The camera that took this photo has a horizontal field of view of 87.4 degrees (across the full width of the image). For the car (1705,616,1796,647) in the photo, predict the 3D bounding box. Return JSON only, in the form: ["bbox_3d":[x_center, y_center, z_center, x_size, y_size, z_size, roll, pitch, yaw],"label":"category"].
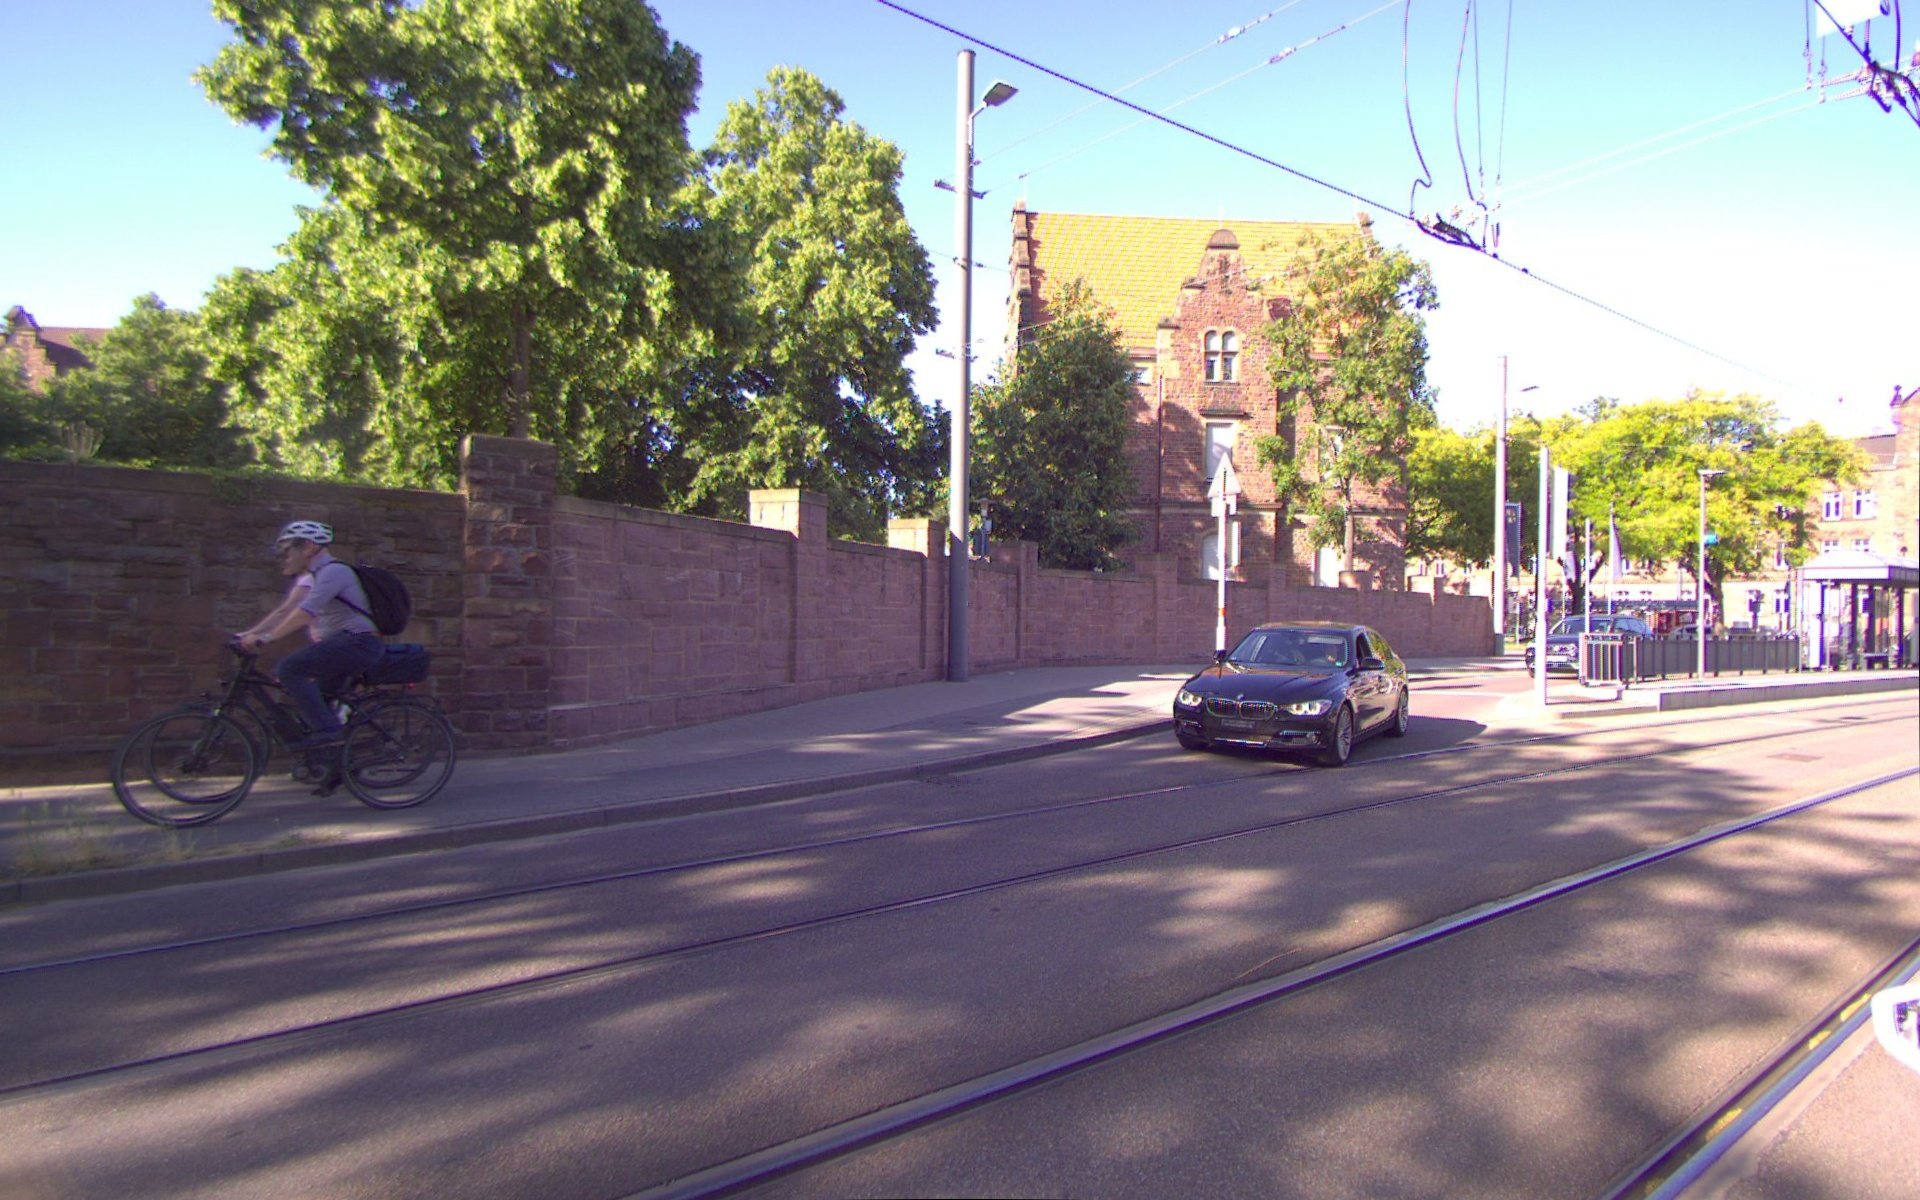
[{"bbox_3d":[46.445,1.833,59.112,1.730,1.682,3.840,2,0,-30],"label":"car"}]

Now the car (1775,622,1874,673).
[{"bbox_3d":[29.929,1.593,34.744,4.080,1.659,1.783,1,-1,-37],"label":"car"}]

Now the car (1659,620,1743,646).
[{"bbox_3d":[48.461,2.136,65.753,1.855,1.542,4.045,2,0,-30],"label":"car"}]

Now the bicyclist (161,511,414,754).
[{"bbox_3d":[-4.258,0.203,6.472,1.257,1.409,0.762,2,0,-30],"label":"bicyclist"}]

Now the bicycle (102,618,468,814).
[{"bbox_3d":[-4.747,0.763,7.214,2.068,1.207,0.726,2,0,-36],"label":"bicycle"}]

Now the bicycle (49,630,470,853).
[{"bbox_3d":[-4.333,0.825,6.434,2.078,1.207,0.768,2,0,-30],"label":"bicycle"}]

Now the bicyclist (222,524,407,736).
[{"bbox_3d":[-4.662,0.207,7.267,1.051,1.409,0.727,2,0,-36],"label":"bicyclist"}]

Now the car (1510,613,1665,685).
[{"bbox_3d":[15.566,1.163,24.878,4.078,1.638,1.908,2,-1,-36],"label":"car"}]

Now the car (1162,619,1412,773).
[{"bbox_3d":[4.033,0.975,11.900,1.712,1.441,4.248,1,-1,34],"label":"car"}]
